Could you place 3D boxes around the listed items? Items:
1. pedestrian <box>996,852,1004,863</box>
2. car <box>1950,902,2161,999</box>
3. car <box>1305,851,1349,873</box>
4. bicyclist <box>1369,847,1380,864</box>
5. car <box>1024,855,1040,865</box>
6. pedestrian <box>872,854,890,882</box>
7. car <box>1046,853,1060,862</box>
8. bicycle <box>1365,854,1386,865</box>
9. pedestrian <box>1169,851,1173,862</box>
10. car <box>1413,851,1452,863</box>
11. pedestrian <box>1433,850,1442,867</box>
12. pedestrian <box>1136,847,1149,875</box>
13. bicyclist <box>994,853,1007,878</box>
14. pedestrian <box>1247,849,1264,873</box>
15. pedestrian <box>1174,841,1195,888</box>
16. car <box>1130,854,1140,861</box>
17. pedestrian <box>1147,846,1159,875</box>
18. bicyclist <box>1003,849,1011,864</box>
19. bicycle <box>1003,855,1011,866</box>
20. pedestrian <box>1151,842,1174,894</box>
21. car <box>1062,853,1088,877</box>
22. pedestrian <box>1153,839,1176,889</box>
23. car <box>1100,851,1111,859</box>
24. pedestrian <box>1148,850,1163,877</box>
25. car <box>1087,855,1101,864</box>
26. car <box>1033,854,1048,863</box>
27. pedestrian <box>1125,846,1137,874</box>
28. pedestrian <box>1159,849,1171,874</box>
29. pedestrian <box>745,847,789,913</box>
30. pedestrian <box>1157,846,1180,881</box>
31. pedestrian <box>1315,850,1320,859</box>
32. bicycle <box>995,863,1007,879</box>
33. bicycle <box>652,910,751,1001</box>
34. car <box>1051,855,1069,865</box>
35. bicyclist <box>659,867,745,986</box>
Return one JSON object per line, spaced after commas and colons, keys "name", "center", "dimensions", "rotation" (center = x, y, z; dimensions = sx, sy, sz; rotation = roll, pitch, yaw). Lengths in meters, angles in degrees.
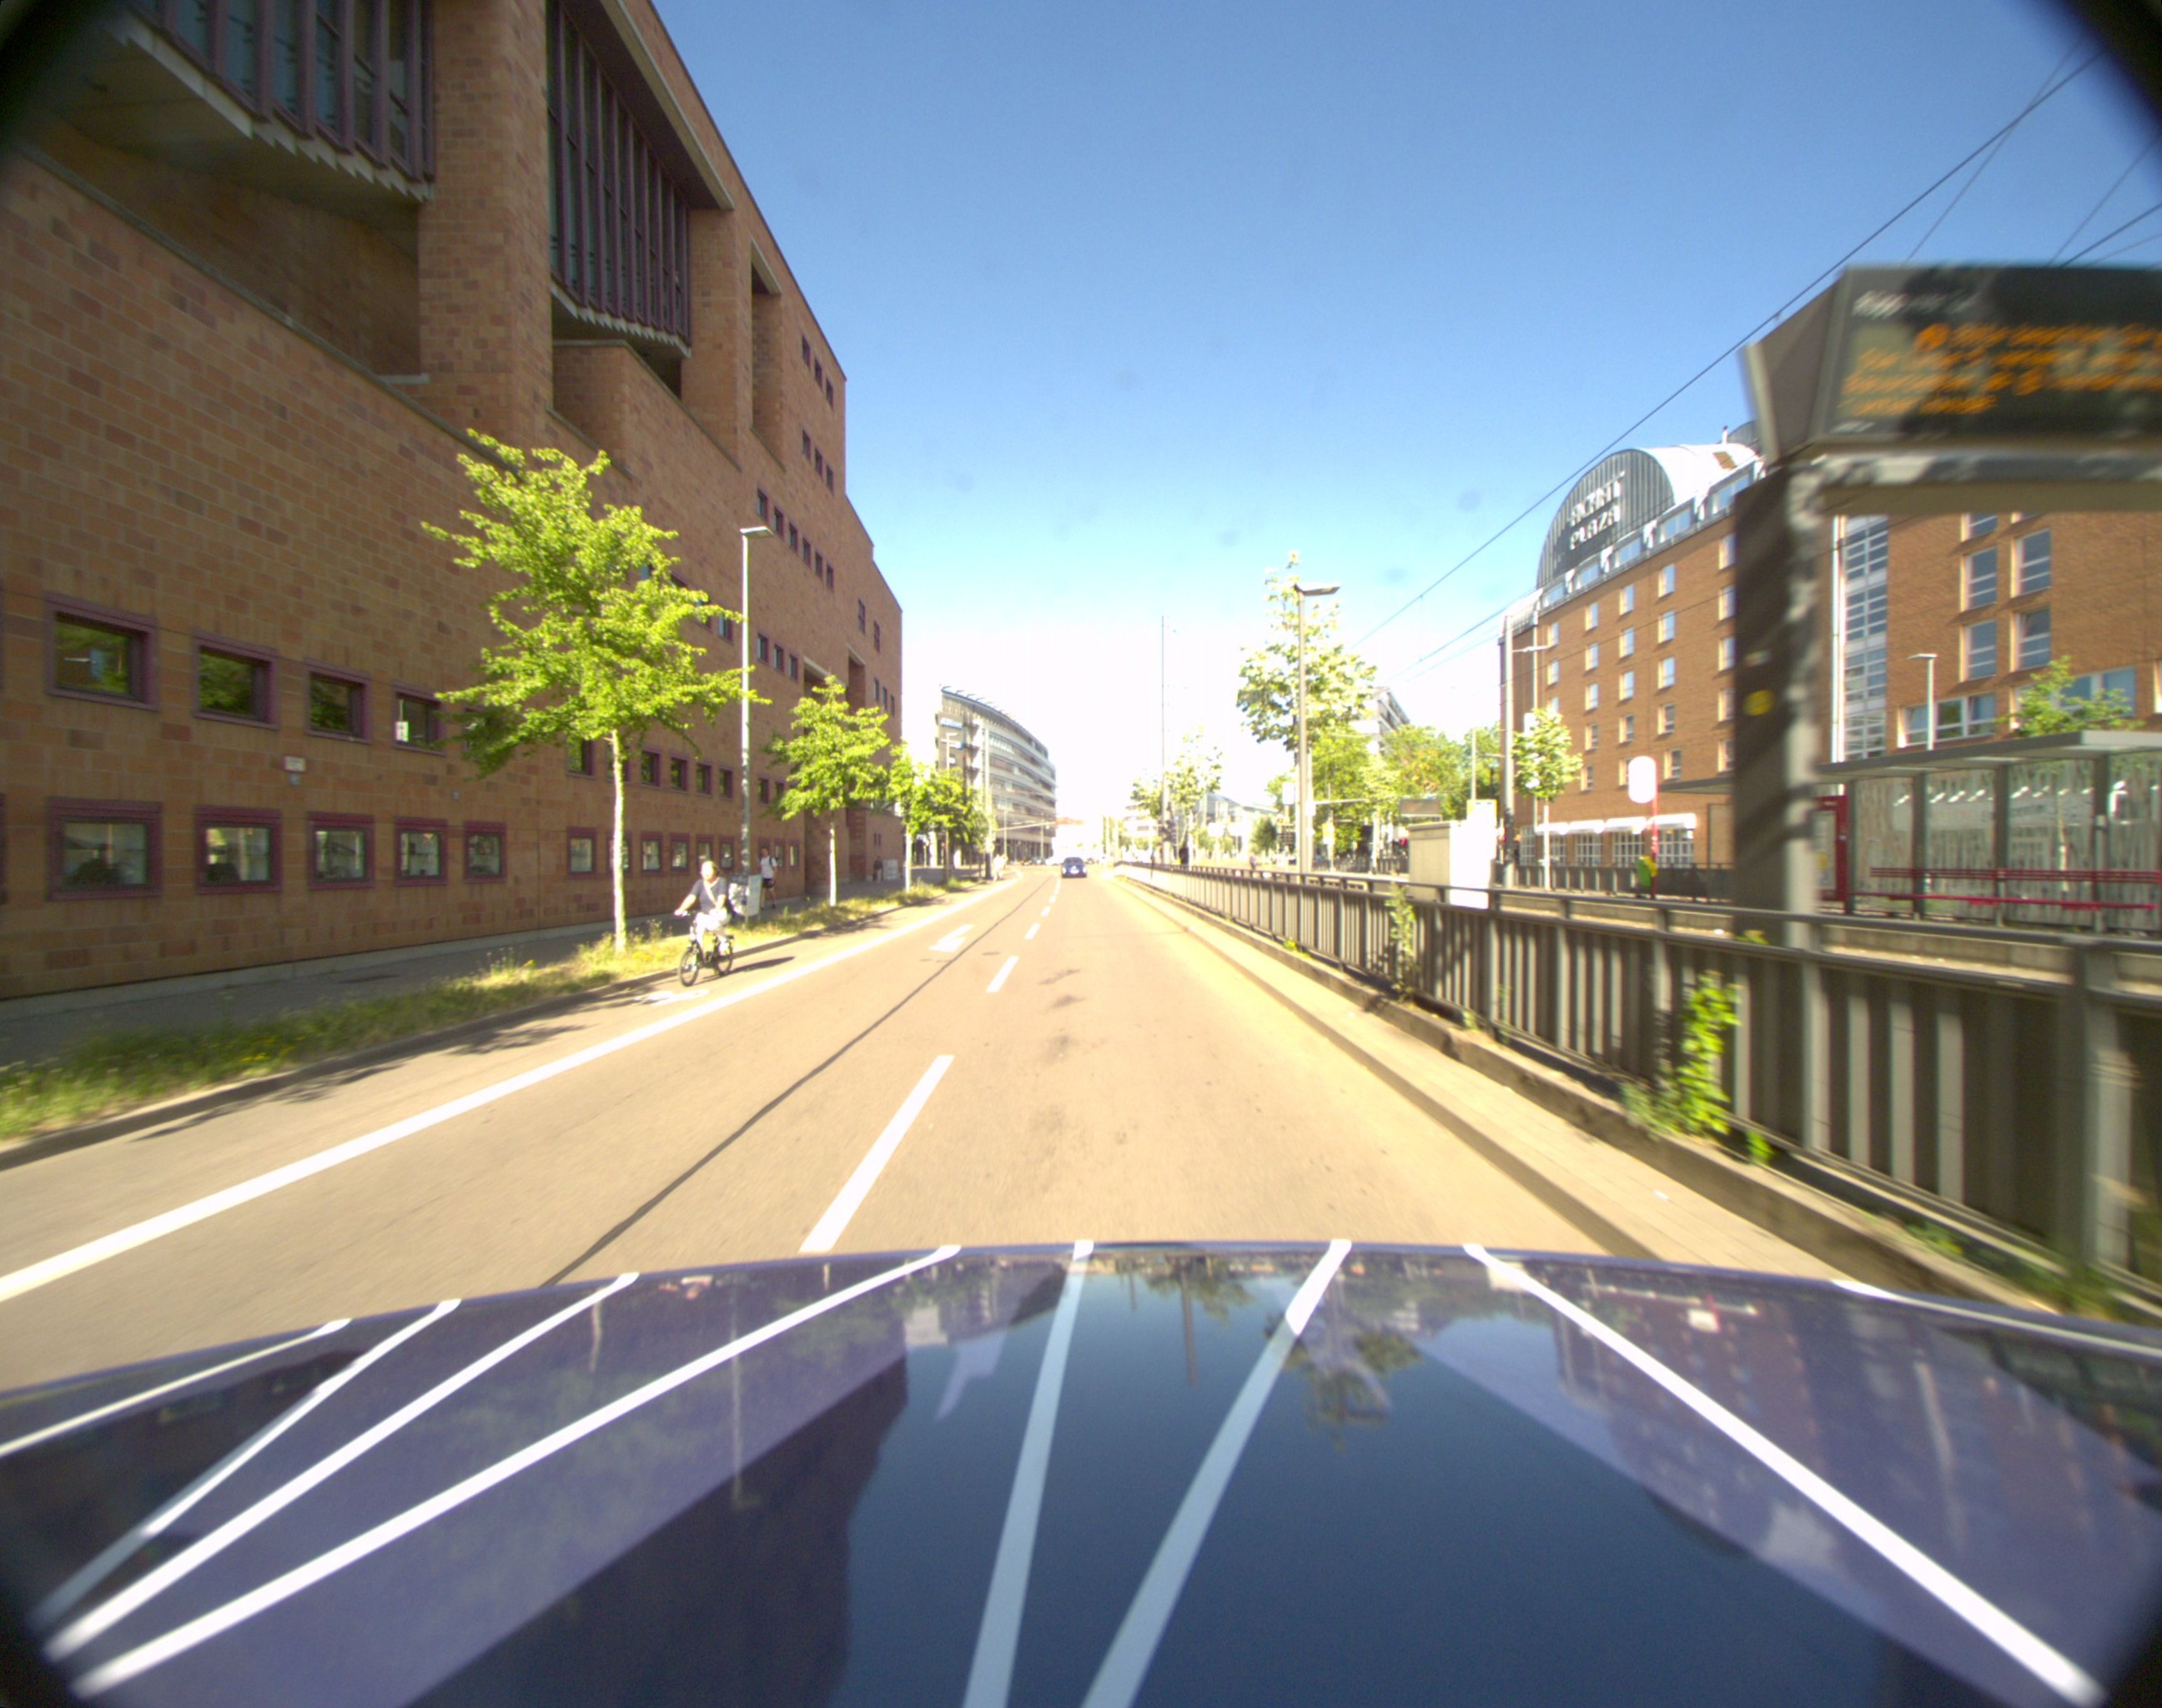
{"name": "pedestrian", "center": [-12.264, 0.528, 114.981], "dimensions": [0.859, 1.677, 0.801], "rotation": [0, 1, 13]}
{"name": "car", "center": [20.750, 1.876, 15.319], "dimensions": [1.883, 1.456, 3.999], "rotation": [-2, 1, 0]}
{"name": "car", "center": [18.027, 0.553, 55.837], "dimensions": [1.936, 1.489, 4.289], "rotation": [0, 0, 1]}
{"name": "bicyclist", "center": [28.837, 0.121, 74.595], "dimensions": [0.848, 1.630, 0.779], "rotation": [0, 1, 9]}
{"name": "car", "center": [-7.974, 0.935, 124.220], "dimensions": [1.882, 1.456, 4.001], "rotation": [-2, 1, 7]}
{"name": "pedestrian", "center": [-11.654, 0.802, 44.320], "dimensions": [0.790, 1.610, 0.976], "rotation": [0, 1, -2]}
{"name": "car", "center": [-5.090, 0.617, 139.976], "dimensions": [1.882, 1.456, 4.001], "rotation": [-2, 1, 7]}
{"name": "bicycle", "center": [28.917, 0.557, 74.552], "dimensions": [1.838, 1.093, 0.638], "rotation": [0, 1, 9]}
{"name": "pedestrian", "center": [13.108, 0.389, 110.523], "dimensions": [0.580, 1.625, 0.548], "rotation": [0, 1, 12]}
{"name": "car", "center": [45.795, 0.346, 98.986], "dimensions": [4.169, 1.499, 1.910], "rotation": [0, 1, 3]}
{"name": "pedestrian", "center": [36.018, 0.429, 76.782], "dimensions": [0.645, 1.696, 0.728], "rotation": [0, 1, 5]}
{"name": "pedestrian", "center": [3.803, 0.427, 47.074], "dimensions": [0.649, 1.733, 0.820], "rotation": [0, 1, -3]}
{"name": "bicyclist", "center": [-5.644, 0.805, 53.503], "dimensions": [0.684, 1.718, 0.909], "rotation": [-2, 1, 3]}
{"name": "pedestrian", "center": [12.111, 0.480, 52.797], "dimensions": [0.960, 1.680, 1.007], "rotation": [0, 1, 2]}
{"name": "pedestrian", "center": [3.891, 0.389, 28.609], "dimensions": [0.710, 1.713, 0.752], "rotation": [0, 1, -1]}
{"name": "car", "center": [12.140, 0.842, 169.327], "dimensions": [1.953, 1.456, 4.002], "rotation": [-2, 1, 8]}
{"name": "pedestrian", "center": [4.456, 0.412, 47.148], "dimensions": [0.649, 1.764, 0.820], "rotation": [0, 1, -3]}
{"name": "bicyclist", "center": [-8.167, 0.310, 83.719], "dimensions": [0.755, 1.607, 0.762], "rotation": [-2, 1, 3]}
{"name": "bicycle", "center": [-8.151, 0.712, 83.640], "dimensions": [0.578, 1.090, 1.507], "rotation": [-2, 0, 3]}
{"name": "pedestrian", "center": [2.970, 0.498, 27.624], "dimensions": [0.748, 1.874, 0.715], "rotation": [0, 1, 0]}
{"name": "car", "center": [-0.429, 0.791, 56.310], "dimensions": [1.802, 1.597, 3.999], "rotation": [-2, 1, 1]}
{"name": "pedestrian", "center": [2.953, 0.341, 26.895], "dimensions": [0.748, 1.738, 0.715], "rotation": [0, 1, 0]}
{"name": "car", "center": [4.779, 0.183, 148.059], "dimensions": [1.882, 1.456, 4.001], "rotation": [-2, 1, 7]}
{"name": "pedestrian", "center": [4.397, 0.542, 44.868], "dimensions": [0.756, 1.609, 0.775], "rotation": [0, 1, -3]}
{"name": "car", "center": [2.294, 0.961, 134.076], "dimensions": [1.882, 1.456, 4.002], "rotation": [-2, 1, 8]}
{"name": "car", "center": [-6.953, 0.796, 132.094], "dimensions": [1.882, 1.456, 4.001], "rotation": [-2, 1, 7]}
{"name": "pedestrian", "center": [3.095, 0.382, 46.844], "dimensions": [0.649, 1.733, 0.820], "rotation": [0, 1, -3]}
{"name": "pedestrian", "center": [5.226, 0.469, 47.234], "dimensions": [0.610, 1.560, 0.908], "rotation": [0, 1, -3]}
{"name": "pedestrian", "center": [-9.070, 0.729, 21.969], "dimensions": [0.790, 1.872, 1.106], "rotation": [0, 1, 0]}
{"name": "pedestrian", "center": [4.541, 0.498, 39.536], "dimensions": [0.994, 1.800, 1.022], "rotation": [0, 1, -3]}
{"name": "pedestrian", "center": [35.706, 0.048, 114.848], "dimensions": [0.663, 1.389, 0.672], "rotation": [0, 1, 12]}
{"name": "bicycle", "center": [-5.626, 1.170, 53.673], "dimensions": [0.578, 1.090, 1.507], "rotation": [-2, 0, 2]}
{"name": "bicycle", "center": [-5.160, 1.348, 10.419], "dimensions": [0.558, 1.021, 1.507], "rotation": [-2, 0, 0]}
{"name": "car", "center": [-3.361, 1.005, 122.986], "dimensions": [2.120, 1.547, 4.003], "rotation": [0, 0, 9]}
{"name": "bicyclist", "center": [-5.188, 0.965, 10.451], "dimensions": [0.659, 1.528, 0.909], "rotation": [-2, 1, 0]}
